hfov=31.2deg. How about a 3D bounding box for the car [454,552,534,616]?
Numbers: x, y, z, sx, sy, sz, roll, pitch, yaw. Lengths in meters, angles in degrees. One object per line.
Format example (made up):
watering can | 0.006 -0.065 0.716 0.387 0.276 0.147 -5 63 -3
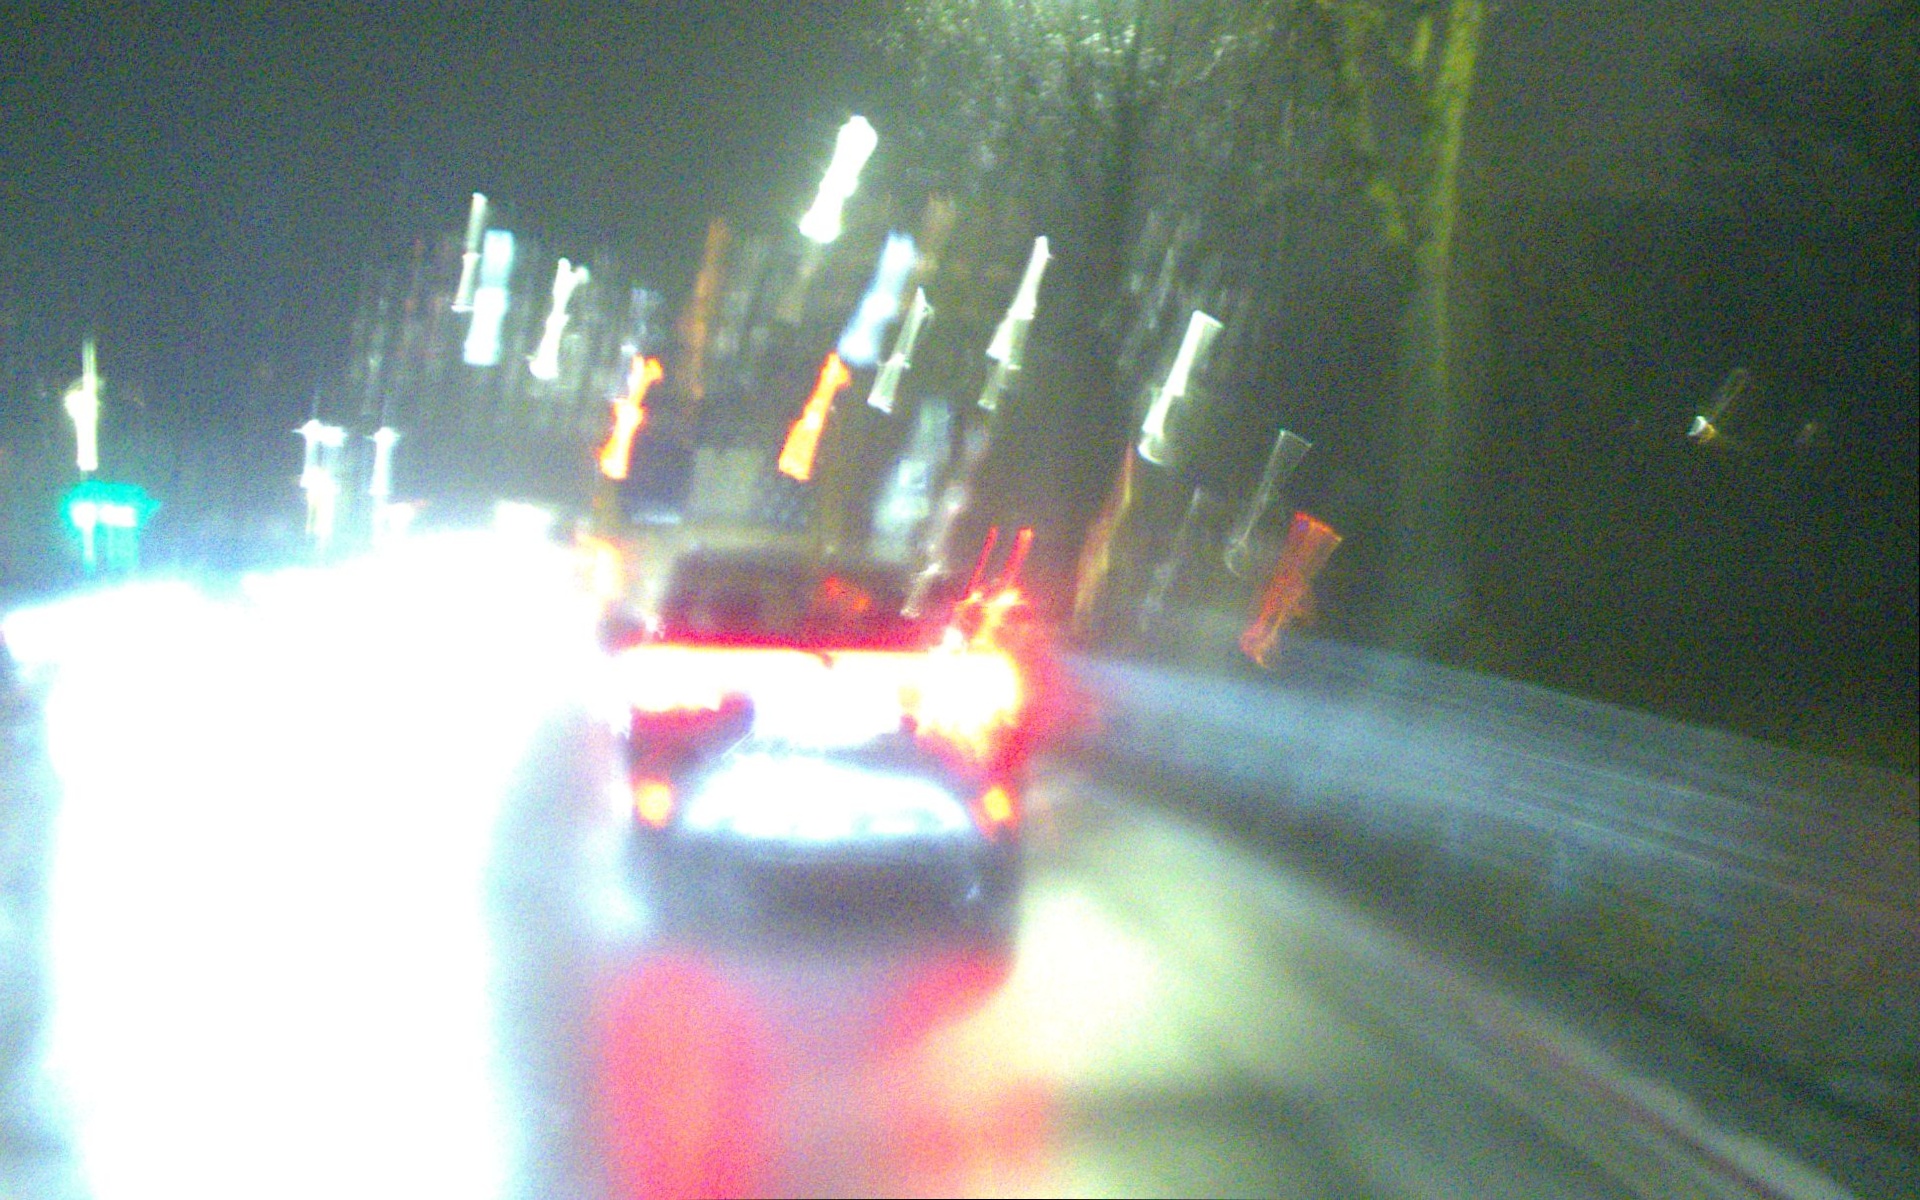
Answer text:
car | -11.348 -0.415 83.725 1.823 1.398 4.037 2 1 -8

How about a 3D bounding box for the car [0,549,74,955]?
car | -4.188 0.547 11.667 1.664 1.427 3.820 0 1 -5

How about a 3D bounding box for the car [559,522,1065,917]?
car | -0.569 0.432 15.724 1.993 1.519 4.000 1 2 1

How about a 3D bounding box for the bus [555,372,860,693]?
bus | -3.014 -0.760 38.926 3.043 3.201 9.052 0 1 -6

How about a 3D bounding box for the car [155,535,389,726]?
car | -5.654 0.199 28.606 1.617 1.473 4.047 0 1 -7

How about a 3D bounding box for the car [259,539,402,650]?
car | -8.680 -0.112 47.677 1.759 1.426 4.329 1 1 -8
